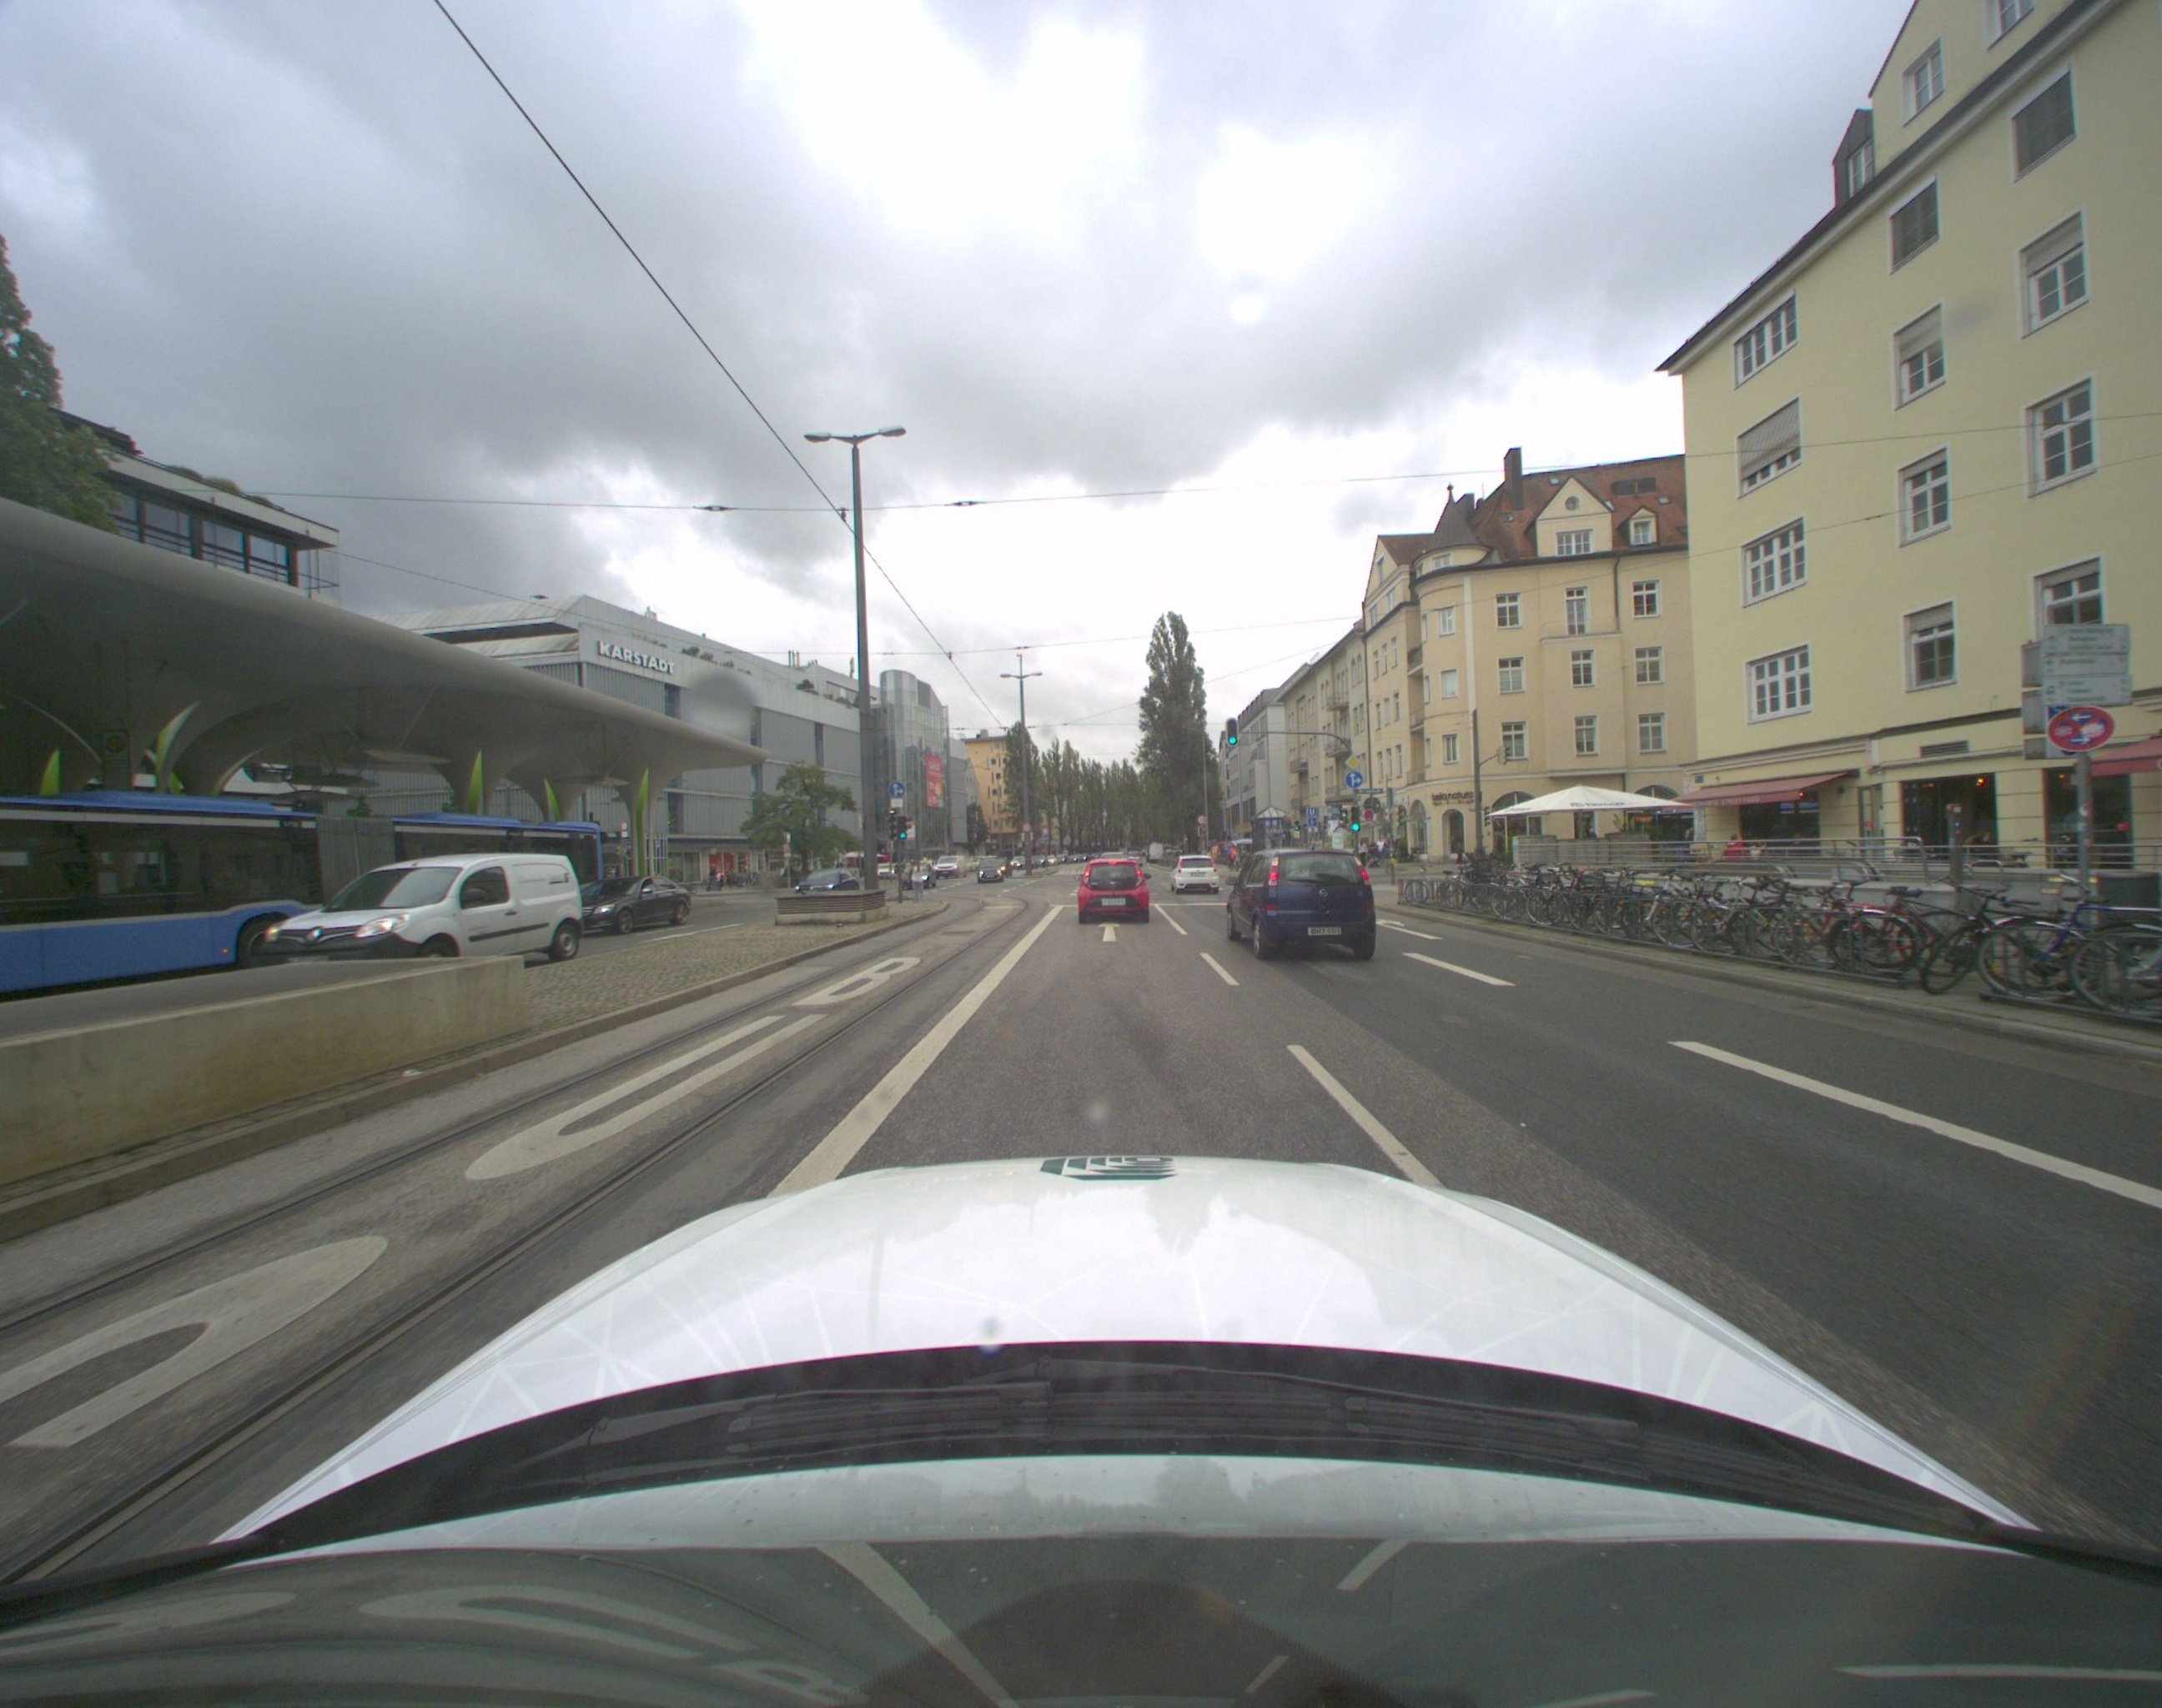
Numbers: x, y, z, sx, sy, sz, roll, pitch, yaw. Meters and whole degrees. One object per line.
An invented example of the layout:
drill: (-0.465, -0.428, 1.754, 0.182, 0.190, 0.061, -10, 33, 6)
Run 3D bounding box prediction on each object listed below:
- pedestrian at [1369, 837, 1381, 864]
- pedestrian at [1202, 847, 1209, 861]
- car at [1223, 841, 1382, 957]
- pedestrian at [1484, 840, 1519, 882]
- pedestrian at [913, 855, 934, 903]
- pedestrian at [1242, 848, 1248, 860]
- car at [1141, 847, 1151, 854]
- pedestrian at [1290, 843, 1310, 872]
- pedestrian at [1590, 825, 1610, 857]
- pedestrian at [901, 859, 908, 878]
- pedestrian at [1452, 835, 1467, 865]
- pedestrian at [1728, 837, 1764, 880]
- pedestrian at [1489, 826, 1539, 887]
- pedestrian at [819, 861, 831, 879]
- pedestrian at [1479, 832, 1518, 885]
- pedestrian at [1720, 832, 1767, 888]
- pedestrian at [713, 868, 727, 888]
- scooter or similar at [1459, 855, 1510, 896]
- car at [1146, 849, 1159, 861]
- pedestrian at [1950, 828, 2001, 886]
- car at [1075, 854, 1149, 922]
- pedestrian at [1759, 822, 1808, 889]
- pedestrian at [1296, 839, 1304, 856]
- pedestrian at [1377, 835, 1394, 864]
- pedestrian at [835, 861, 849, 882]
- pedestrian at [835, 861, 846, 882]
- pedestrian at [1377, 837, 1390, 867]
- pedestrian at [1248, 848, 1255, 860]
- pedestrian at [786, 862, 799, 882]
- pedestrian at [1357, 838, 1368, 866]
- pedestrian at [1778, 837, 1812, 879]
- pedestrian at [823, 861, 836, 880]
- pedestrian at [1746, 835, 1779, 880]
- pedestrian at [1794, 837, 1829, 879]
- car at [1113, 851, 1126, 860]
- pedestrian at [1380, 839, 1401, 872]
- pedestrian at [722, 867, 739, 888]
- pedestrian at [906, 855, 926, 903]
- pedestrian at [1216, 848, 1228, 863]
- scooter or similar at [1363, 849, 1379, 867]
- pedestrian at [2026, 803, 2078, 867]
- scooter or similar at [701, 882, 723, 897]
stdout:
pedestrian: (18.043, -0.220, 49.991, 0.556, 1.609, 0.570, -2, 3, 15)
pedestrian: (15.479, 0.027, 101.341, 0.787, 1.727, 0.764, -2, 0, 2)
car: (3.349, 0.609, 12.935, 1.696, 1.589, 3.558, 0, 0, 2)
pedestrian: (15.898, 0.247, 30.797, 0.730, 1.540, 0.887, -2, 0, -13)
pedestrian: (-5.485, 0.871, 28.358, 0.466, 1.618, 0.515, -2, 0, -45)
pedestrian: (18.907, 0.029, 93.962, 0.596, 1.402, 0.580, -2, 0, 2)
car: (17.396, -0.886, 217.504, 1.979, 1.691, 4.431, -2, 0, 15)
pedestrian: (13.079, 0.187, 48.733, 0.826, 1.691, 0.825, -2, 0, 39)
pedestrian: (28.803, -0.716, 45.172, 0.676, 1.705, 0.749, -2, 3, 11)
pedestrian: (-16.599, 1.361, 76.540, 0.441, 1.759, 0.358, -2, 0, 44)
pedestrian: (21.683, -0.239, 46.625, 0.674, 1.684, 0.751, -2, 3, 21)
pedestrian: (20.623, 0.146, 25.260, 0.512, 1.292, 0.703, -2, 0, 0)
pedestrian: (12.692, 0.072, 23.889, 0.882, 1.743, 0.854, -2, 0, -15)
pedestrian: (-21.501, 1.354, 68.301, 0.754, 1.493, 0.765, -2, 0, -33)
pedestrian: (13.796, 0.152, 26.925, 0.762, 1.695, 0.762, -2, 0, -24)
pedestrian: (17.155, 0.157, 21.098, 0.673, 1.422, 0.617, -2, 0, 2)
pedestrian: (-28.395, 1.890, 63.985, 0.632, 1.574, 0.725, -2, 0, 22)
scooter or similar: (11.254, 0.595, 22.739, 0.773, 1.075, 1.256, -2, 0, 0)
car: (10.043, 0.105, 114.276, 1.696, 1.662, 3.558, -2, 0, 2)
pedestrian: (20.596, 0.071, 18.756, 0.539, 1.289, 0.552, -2, 0, 2)
car: (0.764, 0.747, 19.407, 1.598, 1.461, 3.132, -1, 0, 3)
pedestrian: (17.633, 0.031, 20.456, 0.612, 1.632, 0.678, -2, 0, 2)
pedestrian: (22.275, -0.646, 82.939, 0.638, 1.644, 0.563, -2, 0, 2)
pedestrian: (18.609, -0.271, 49.764, 0.648, 1.705, 0.727, -4, 3, -27)
pedestrian: (-19.969, 1.471, 68.022, 0.765, 1.654, 0.754, -2, 0, 13)
pedestrian: (-20.407, 1.466, 69.193, 0.752, 1.773, 0.767, -2, 0, -21)
pedestrian: (18.129, -0.113, 48.800, 0.642, 1.751, 0.640, -2, 3, 24)
pedestrian: (19.648, 0.022, 93.916, 0.572, 1.402, 0.580, -2, 0, 2)
pedestrian: (-24.143, 1.500, 68.087, 0.791, 1.687, 0.853, -2, 0, -33)
pedestrian: (17.240, -0.119, 49.895, 0.560, 1.670, 0.565, -2, 3, 24)
pedestrian: (20.123, 0.105, 22.959, 0.476, 1.166, 0.527, -2, 0, 0)
pedestrian: (-21.405, 1.381, 69.336, 0.754, 1.554, 0.764, -2, 0, -34)
pedestrian: (20.120, 0.103, 24.045, 0.476, 1.299, 0.527, -2, 0, 0)
pedestrian: (20.654, 0.104, 23.018, 0.476, 1.166, 0.527, -2, 0, 0)
car: (8.223, 0.324, 173.989, 1.980, 1.728, 3.930, -2, 0, 12)
pedestrian: (17.055, 0.057, 44.899, 0.927, 1.755, 1.069, -2, 0, 13)
pedestrian: (-28.424, 1.892, 65.991, 0.791, 1.581, 0.980, -2, 0, 13)
pedestrian: (-5.802, 0.874, 28.607, 0.489, 1.618, 0.552, -2, 0, -33)
pedestrian: (14.454, 0.187, 83.599, 0.812, 1.522, 0.794, -2, 0, -21)
scooter or similar: (17.463, 0.235, 49.087, 0.812, 0.994, 0.597, -2, 3, 24)
pedestrian: (21.590, -0.417, 18.117, 0.506, 1.397, 0.490, -2, 0, 7)
scooter or similar: (-27.095, 2.615, 59.755, 1.396, 0.982, 0.414, -2, 0, -3)
